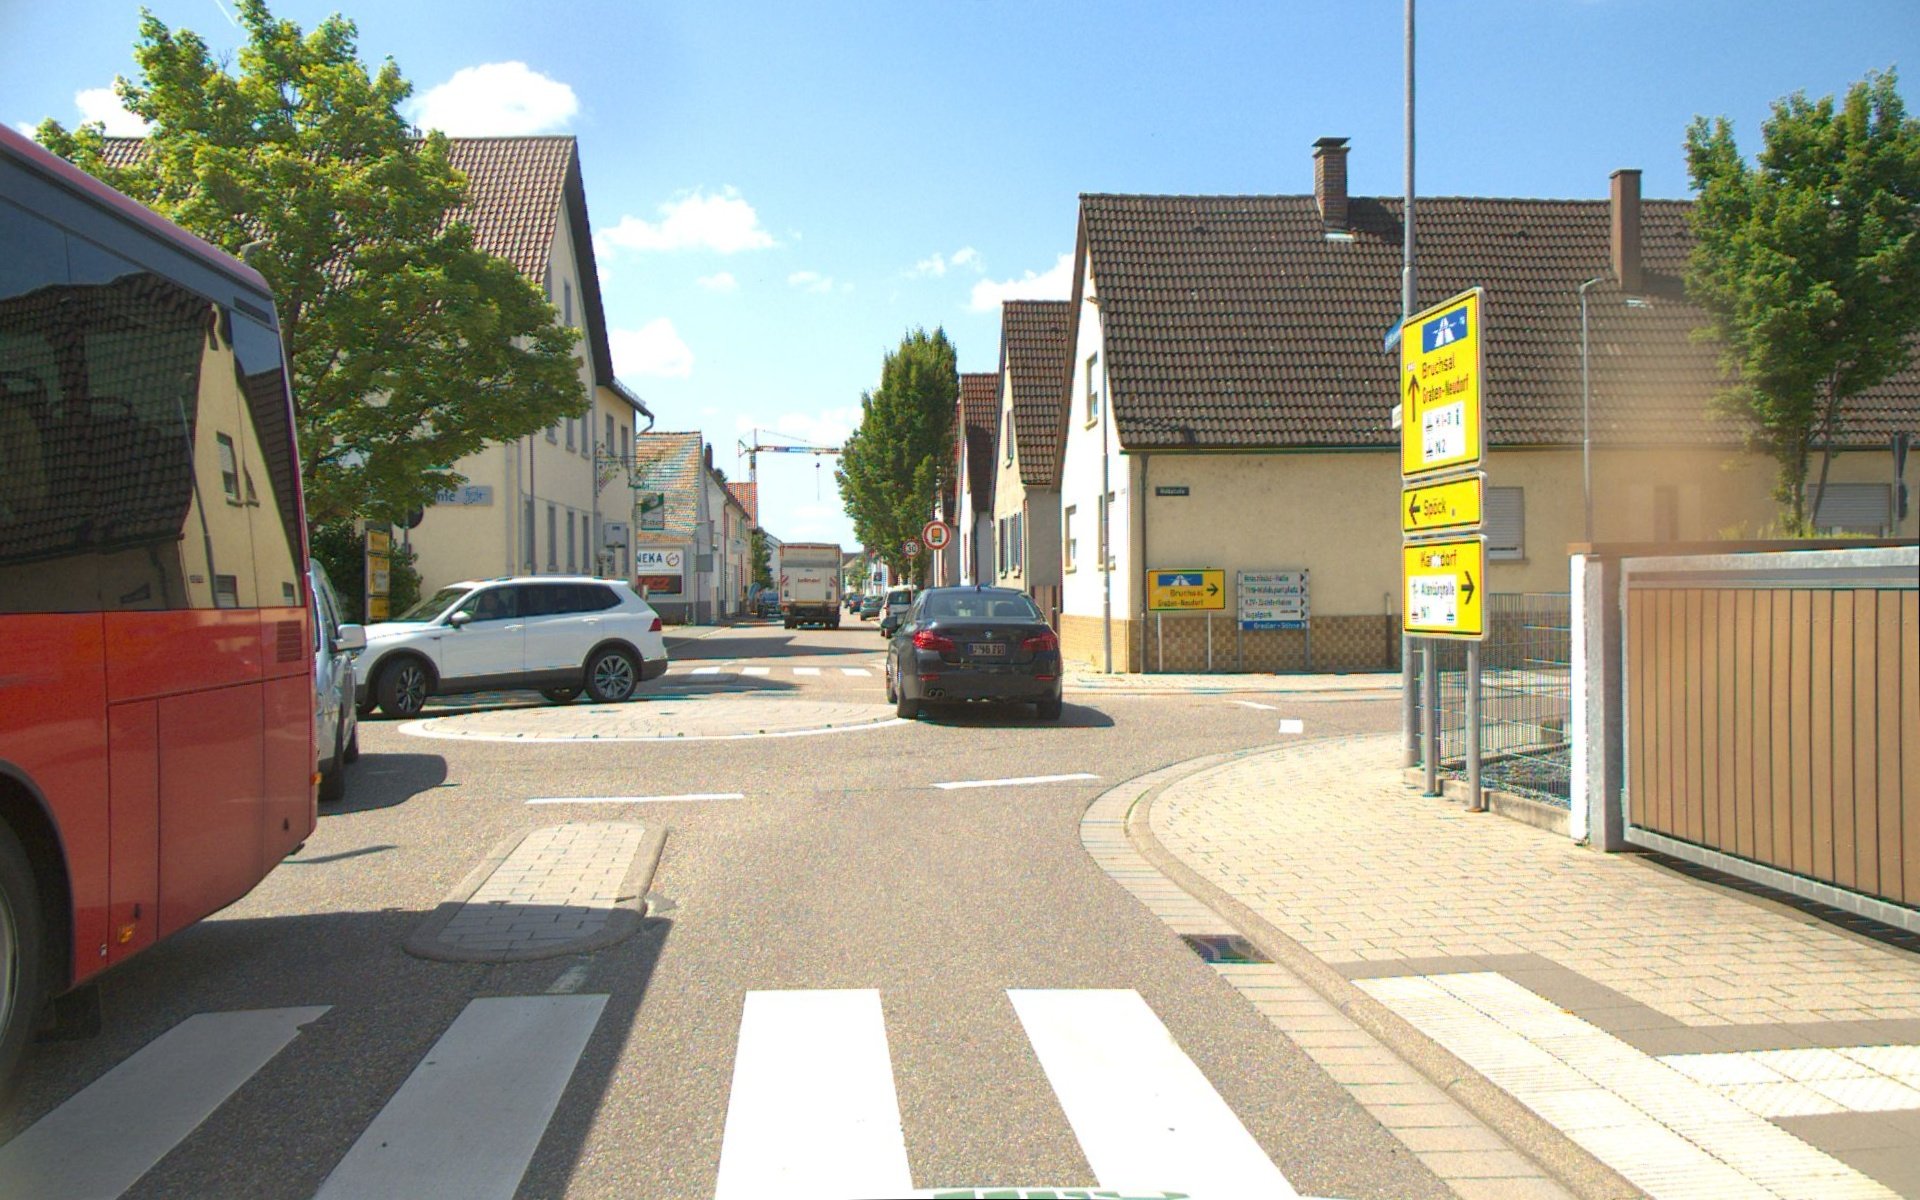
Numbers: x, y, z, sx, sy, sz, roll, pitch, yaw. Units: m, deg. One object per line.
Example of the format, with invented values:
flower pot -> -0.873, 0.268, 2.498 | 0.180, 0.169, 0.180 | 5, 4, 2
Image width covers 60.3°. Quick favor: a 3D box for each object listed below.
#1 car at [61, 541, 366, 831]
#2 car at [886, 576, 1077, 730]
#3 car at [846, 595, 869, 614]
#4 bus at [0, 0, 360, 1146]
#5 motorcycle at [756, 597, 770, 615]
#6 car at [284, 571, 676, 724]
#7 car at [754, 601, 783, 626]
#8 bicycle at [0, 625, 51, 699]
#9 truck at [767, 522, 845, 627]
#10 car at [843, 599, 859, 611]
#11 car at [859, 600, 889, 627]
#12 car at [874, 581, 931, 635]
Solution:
car -> -5.774, 0.563, 13.279 | 1.745, 1.852, 4.417 | -2, 1, -19
car -> 0.130, 0.538, 19.504 | 1.865, 1.591, 4.472 | 0, 0, -4
car -> -7.707, 0.356, 124.497 | 1.686, 1.379, 4.153 | 0, 0, -5
bus -> -3.713, -0.091, 1.989 | 2.576, 3.288, 12.008 | -3, 1, -6
motorcycle -> -12.616, 0.387, 106.145 | 0.830, 1.190, 2.466 | 1, 0, -6
car -> -6.088, 0.526, 21.270 | 4.498, 1.740, 1.846 | -1, 0, -39
car -> -12.727, 0.883, 110.107 | 1.774, 1.617, 3.995 | 0, 0, -5
bicycle -> -14.611, 0.946, 25.734 | 0.393, 1.021, 1.974 | -1, 2, -16
truck -> -6.704, -1.036, 73.320 | 3.082, 4.325, 9.295 | 1, 0, -3
car -> -11.437, 0.510, 173.483 | 1.686, 1.291, 4.153 | 0, 0, -5
car -> -5.006, 0.766, 96.350 | 1.685, 1.487, 4.154 | 0, 0, -3
car -> -2.088, 0.266, 59.588 | 1.687, 1.821, 4.138 | -2, 0, -6
